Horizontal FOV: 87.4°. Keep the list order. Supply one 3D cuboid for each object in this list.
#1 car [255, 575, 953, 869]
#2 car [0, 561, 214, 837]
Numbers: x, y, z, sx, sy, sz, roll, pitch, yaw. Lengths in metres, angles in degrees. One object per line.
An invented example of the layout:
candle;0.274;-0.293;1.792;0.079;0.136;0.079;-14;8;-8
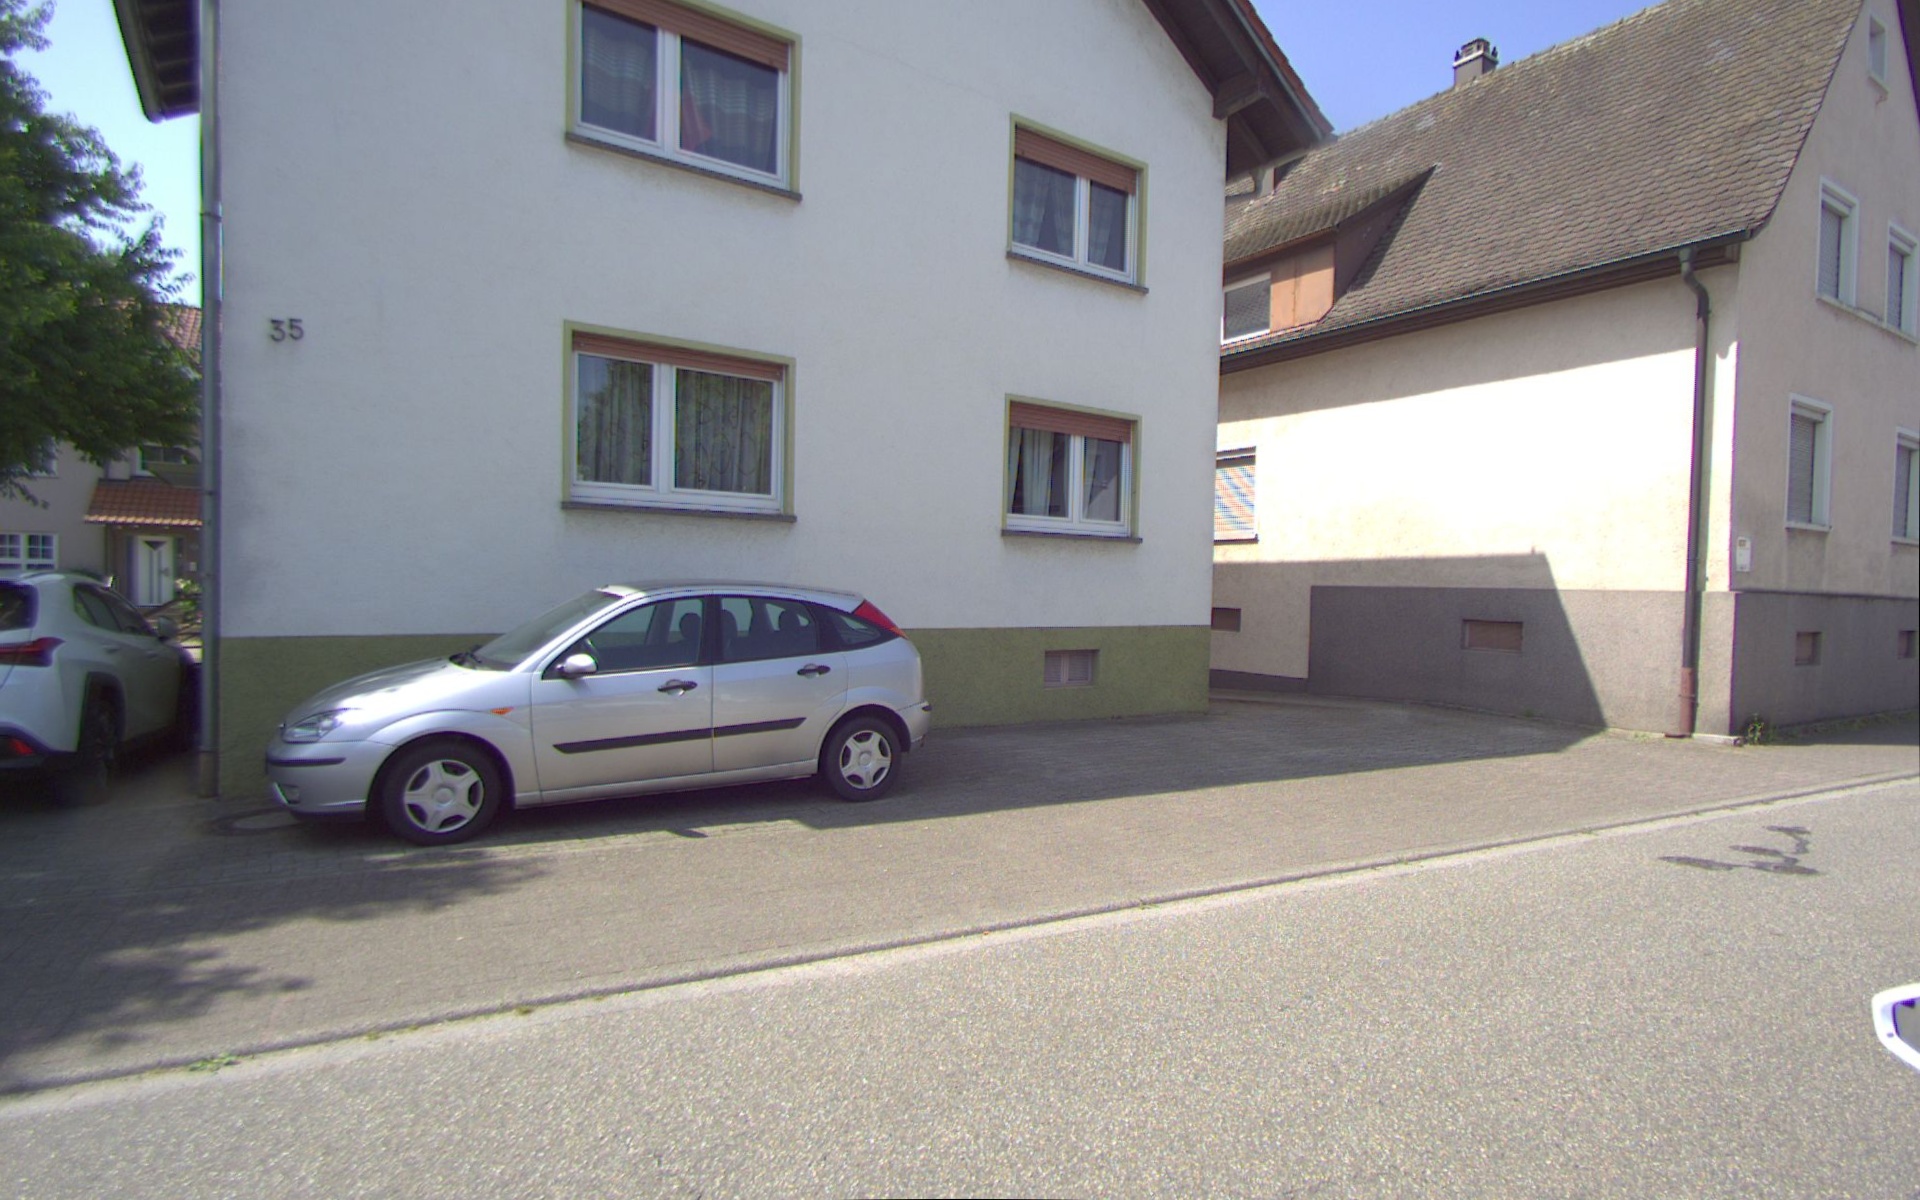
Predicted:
car;-2.214;0.593;6.777;4.009;1.454;1.769;0;1;-31
car;-6.836;0.584;7.245;1.752;1.559;4.143;0;-1;-28
